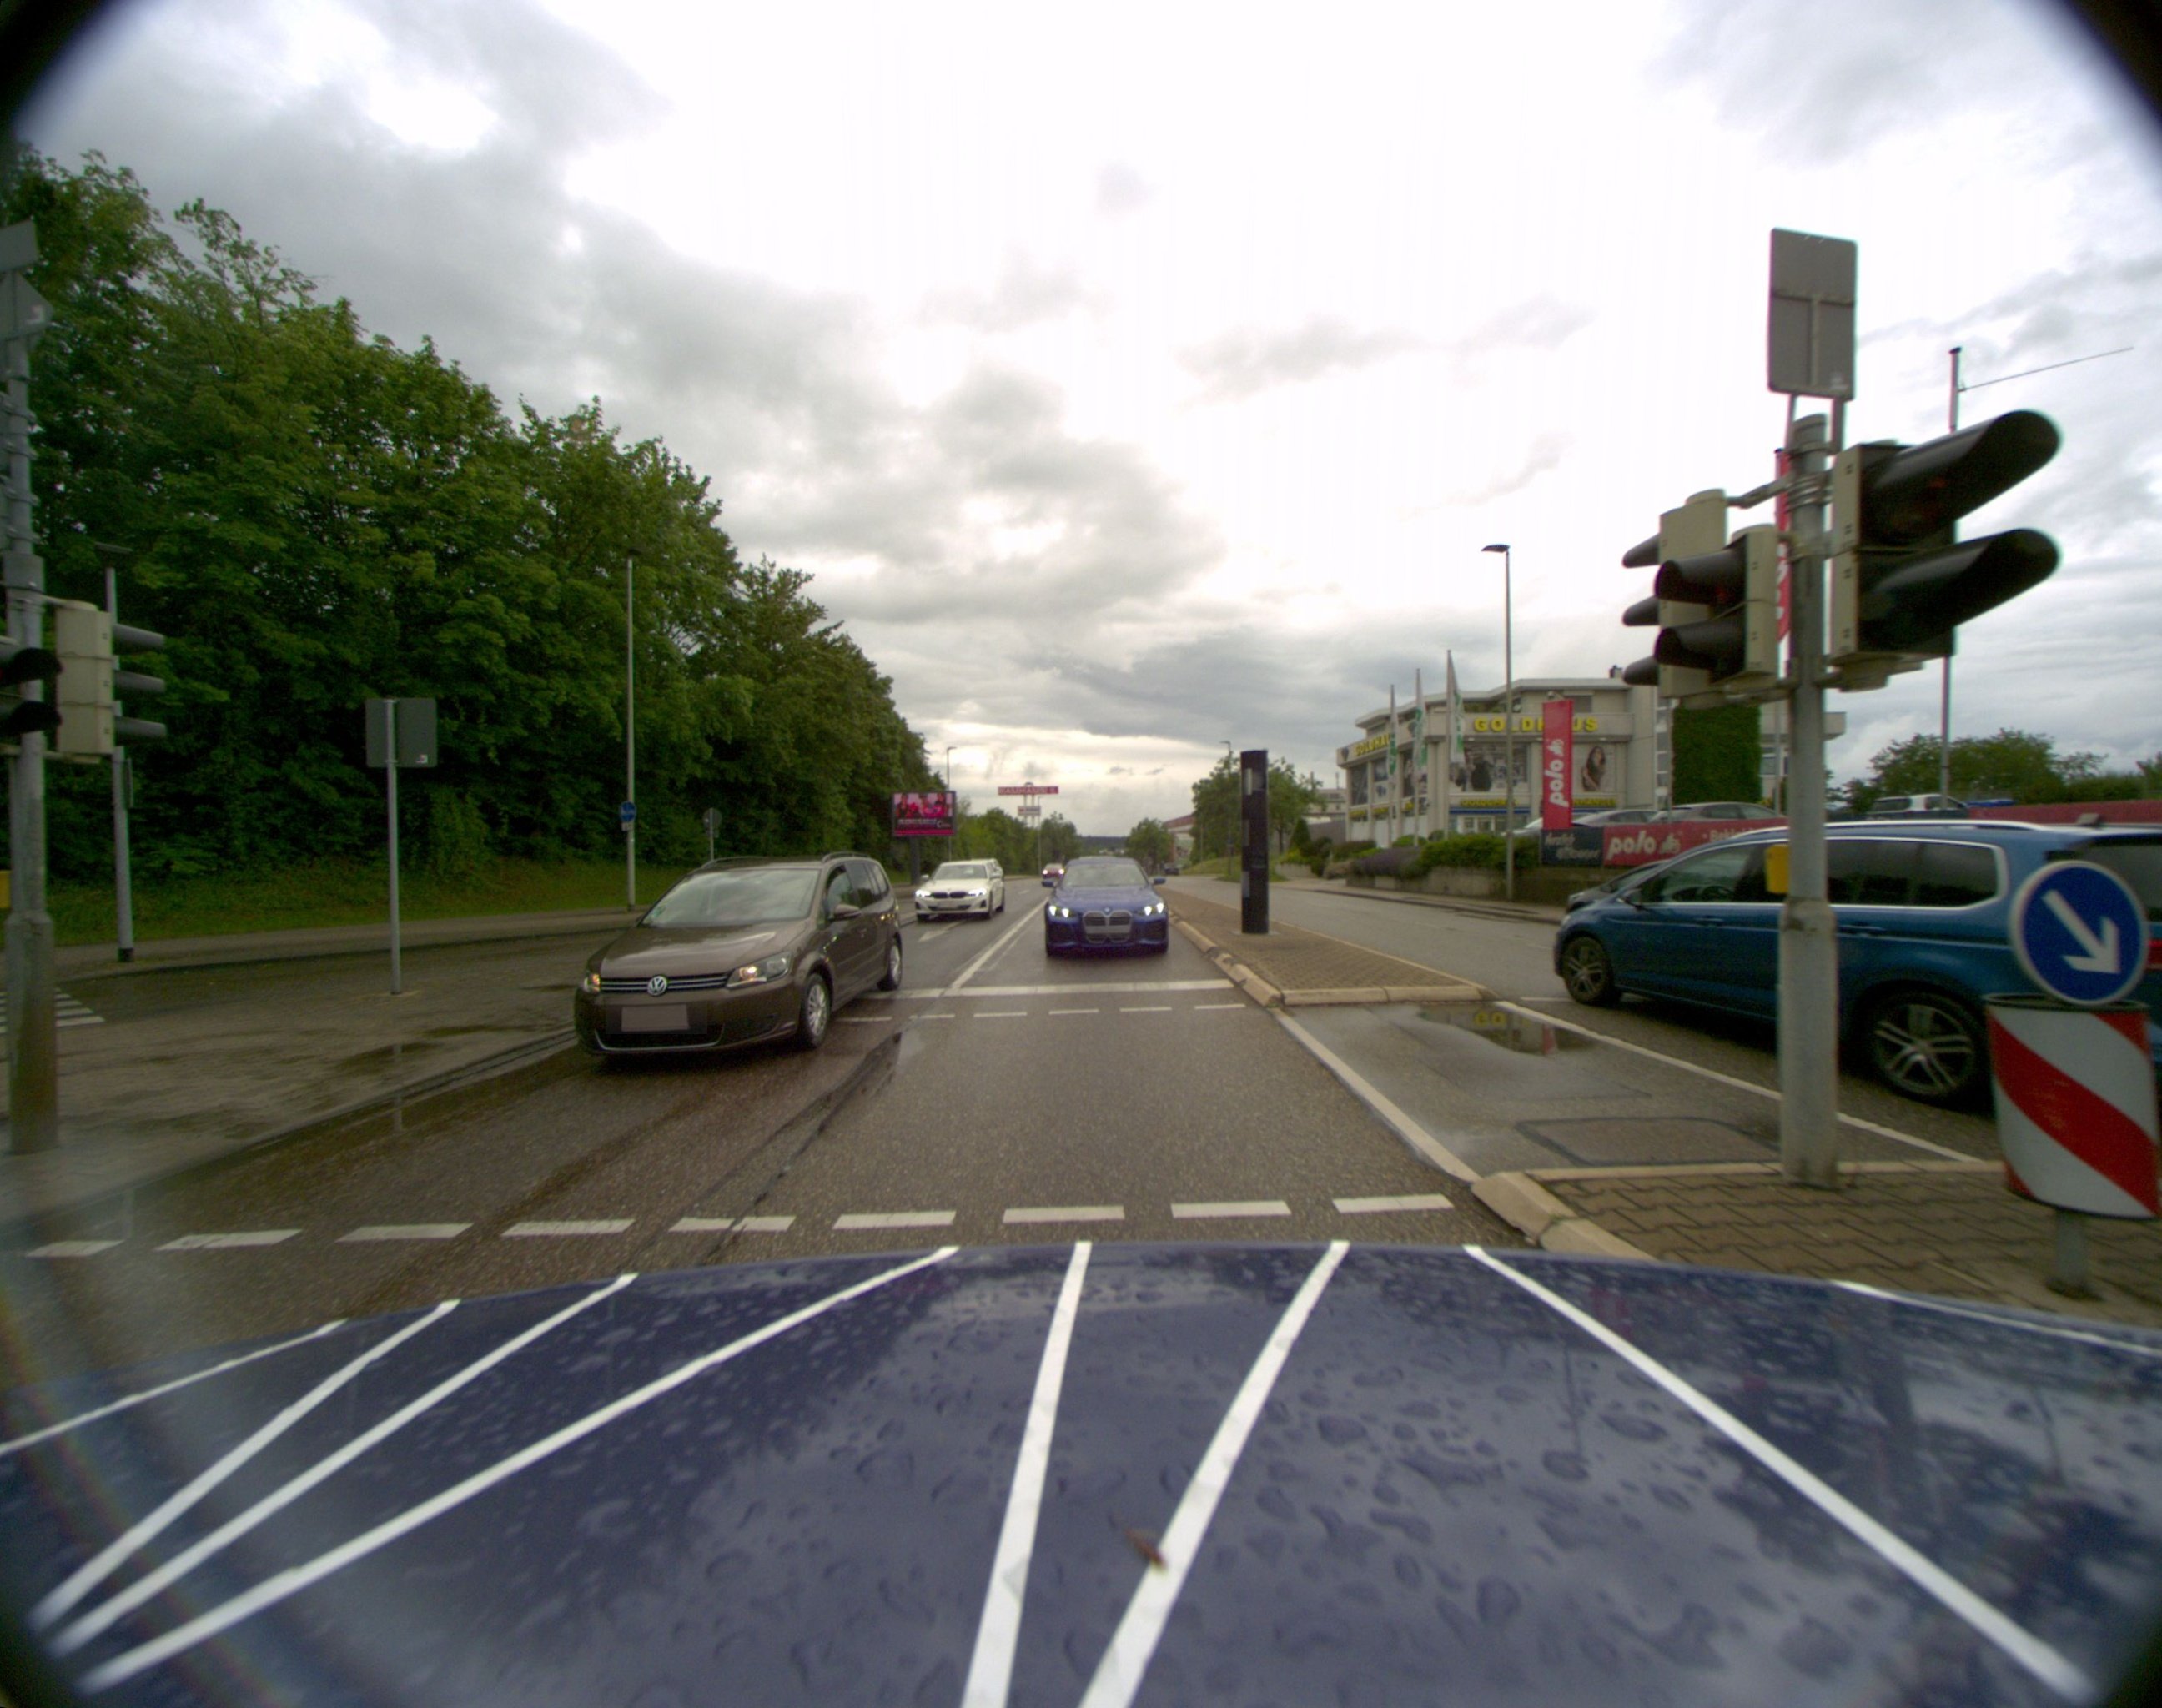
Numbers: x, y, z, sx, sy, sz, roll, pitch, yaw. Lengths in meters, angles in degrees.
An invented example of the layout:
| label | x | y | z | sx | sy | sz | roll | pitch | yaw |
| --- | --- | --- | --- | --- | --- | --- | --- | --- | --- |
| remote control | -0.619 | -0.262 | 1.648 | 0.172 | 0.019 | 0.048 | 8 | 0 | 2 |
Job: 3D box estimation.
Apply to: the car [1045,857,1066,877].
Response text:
| label | x | y | z | sx | sy | sz | roll | pitch | yaw |
| --- | --- | --- | --- | --- | --- | --- | --- | --- | --- |
| car | -2.078 | 1.055 | 62.478 | 1.634 | 1.448 | 3.537 | -2 | 1 | -1 |

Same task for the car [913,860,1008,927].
| label | x | y | z | sx | sy | sz | roll | pitch | yaw |
| --- | --- | --- | --- | --- | --- | --- | --- | --- | --- |
| car | -3.064 | 0.945 | 20.239 | 1.784 | 1.448 | 4.679 | -2 | 0 | -1 |

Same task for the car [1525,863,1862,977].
| label | x | y | z | sx | sy | sz | roll | pitch | yaw |
| --- | --- | --- | --- | --- | --- | --- | --- | --- | --- |
| car | 9.064 | 0.875 | 11.818 | 1.922 | 1.371 | 4.125 | 1 | 0 | 0 |

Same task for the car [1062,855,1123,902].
| label | x | y | z | sx | sy | sz | roll | pitch | yaw |
| --- | --- | --- | --- | --- | --- | --- | --- | --- | --- |
| car | 0.455 | 0.841 | 27.737 | 1.998 | 1.455 | 4.367 | -2 | 1 | 2 |

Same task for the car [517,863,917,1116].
| label | x | y | z | sx | sy | sz | roll | pitch | yaw |
| --- | --- | --- | --- | --- | --- | --- | --- | --- | --- |
| car | -2.908 | 0.952 | 7.169 | 1.751 | 1.600 | 3.980 | -2 | 1 | 1 |

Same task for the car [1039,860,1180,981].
| label | x | y | z | sx | sy | sz | roll | pitch | yaw |
| --- | --- | --- | --- | --- | --- | --- | --- | --- | --- |
| car | 0.337 | 0.871 | 12.079 | 1.784 | 1.448 | 4.596 | -2 | 0 | -1 |

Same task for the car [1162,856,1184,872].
| label | x | y | z | sx | sy | sz | roll | pitch | yaw |
| --- | --- | --- | --- | --- | --- | --- | --- | --- | --- |
| car | 11.691 | 1.288 | 97.065 | 2.350 | 1.879 | 4.546 | 0 | -2 | 1 |

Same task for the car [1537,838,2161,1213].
| label | x | y | z | sx | sy | sz | roll | pitch | yaw |
| --- | --- | --- | --- | --- | --- | --- | --- | --- | --- |
| car | 5.565 | 0.751 | 5.461 | 1.844 | 1.640 | 4.296 | 1 | 0 | -3 |

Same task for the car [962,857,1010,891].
| label | x | y | z | sx | sy | sz | roll | pitch | yaw |
| --- | --- | --- | --- | --- | --- | --- | --- | --- | --- |
| car | -5.026 | 1.010 | 40.737 | 1.998 | 1.717 | 4.317 | -1 | 0 | 1 |

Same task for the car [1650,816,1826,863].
| label | x | y | z | sx | sy | sz | roll | pitch | yaw |
| --- | --- | --- | --- | --- | --- | --- | --- | --- | --- |
| car | 17.072 | -0.352 | 19.831 | 3.395 | 1.161 | 1.454 | 0 | 0 | -2 |

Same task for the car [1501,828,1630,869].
| label | x | y | z | sx | sy | sz | roll | pitch | yaw |
| --- | --- | --- | --- | --- | --- | --- | --- | --- | --- |
| car | 16.188 | -0.181 | 25.472 | 3.394 | 1.329 | 1.454 | 0 | 0 | 1 |

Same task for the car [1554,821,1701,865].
| label | x | y | z | sx | sy | sz | roll | pitch | yaw |
| --- | --- | --- | --- | --- | --- | --- | --- | --- | --- |
| car | 16.384 | -0.323 | 22.861 | 3.395 | 1.270 | 1.454 | 0 | 0 | -2 |
